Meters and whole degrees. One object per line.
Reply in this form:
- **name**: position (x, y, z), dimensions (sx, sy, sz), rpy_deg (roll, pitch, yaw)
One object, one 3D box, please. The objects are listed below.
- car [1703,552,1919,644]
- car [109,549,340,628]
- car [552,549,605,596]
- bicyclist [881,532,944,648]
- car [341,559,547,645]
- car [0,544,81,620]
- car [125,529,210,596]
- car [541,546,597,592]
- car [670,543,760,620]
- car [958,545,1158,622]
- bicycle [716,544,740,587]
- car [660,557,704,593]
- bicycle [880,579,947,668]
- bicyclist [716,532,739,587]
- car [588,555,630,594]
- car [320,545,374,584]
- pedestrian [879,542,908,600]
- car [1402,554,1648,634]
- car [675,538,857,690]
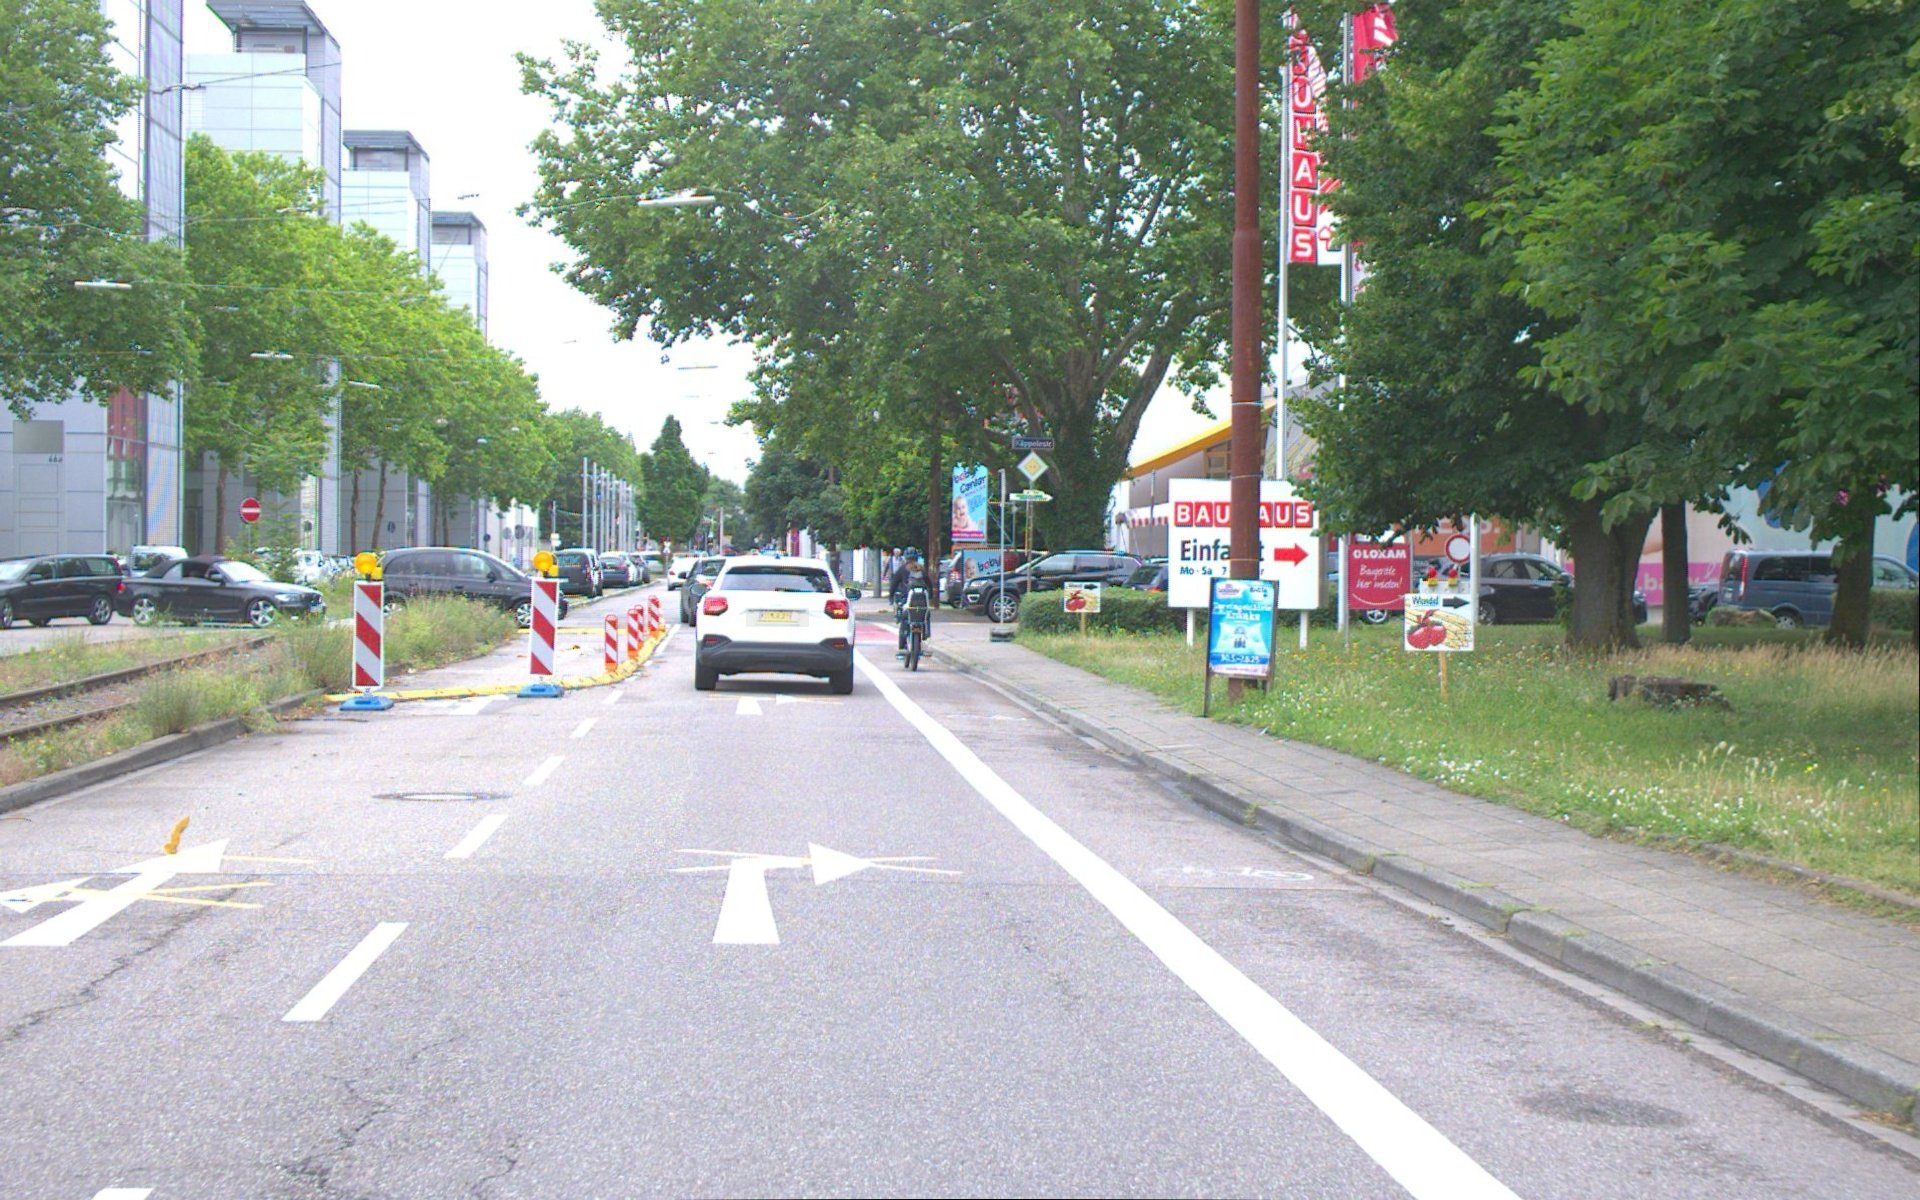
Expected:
- **car**: position (17.778, -0.055, 70.460), dimensions (4.552, 1.784, 2.074), rpy_deg (1, 1, -3)
- **car**: position (-14.525, -0.210, 67.903), dimensions (4.120, 1.470, 1.823), rpy_deg (-1, -1, 19)
- **car**: position (-14.313, -1.038, 129.218), dimensions (1.876, 1.757, 4.001), rpy_deg (0, 1, -5)
- **bicyclist**: position (-0.678, -0.148, 48.605), dimensions (0.816, 1.624, 1.235), rpy_deg (0, 0, -3)
- **car**: position (-10.289, 0.035, 68.746), dimensions (3.882, 1.550, 1.826), rpy_deg (2, 0, -4)
- **car**: position (-19.039, -0.368, 67.914), dimensions (1.820, 1.467, 4.425), rpy_deg (0, 1, 6)
- **car**: position (-21.629, -1.017, 93.950), dimensions (1.819, 1.777, 4.427), rpy_deg (0, 1, -7)
- **car**: position (-14.009, -1.125, 123.407), dimensions (1.876, 1.627, 4.001), rpy_deg (0, 1, -5)
- **car**: position (-5.156, -0.401, 72.021), dimensions (1.684, 1.508, 3.707), rpy_deg (2, 1, -6)
- **car**: position (2.160, -0.370, 76.592), dimensions (4.313, 1.671, 1.993), rpy_deg (0, 1, -3)
- **bicycle**: position (-7.771, -1.152, 115.024), dimensions (0.670, 1.389, 2.167), rpy_deg (2, 1, -6)
- **car**: position (-12.353, -1.127, 152.662), dimensions (1.795, 1.508, 3.707), rpy_deg (2, 1, -6)
- **bicycle**: position (-0.676, 0.319, 48.566), dimensions (0.816, 1.208, 2.683), rpy_deg (0, 1, -3)
- **bicyclist**: position (-7.779, -1.359, 115.159), dimensions (0.670, 1.809, 0.760), rpy_deg (2, 1, -6)
- **car**: position (-16.070, -1.166, 157.571), dimensions (1.876, 1.757, 4.001), rpy_deg (0, 1, -5)
- **car**: position (-26.114, -1.514, 146.635), dimensions (1.876, 1.627, 4.206), rpy_deg (0, 1, -5)
- **pedestrian**: position (-1.948, -0.856, 101.052), dimensions (0.760, 1.699, 0.682), rpy_deg (0, 1, -8)
- **car**: position (11.392, -0.122, 69.510), dimensions (4.552, 1.566, 1.993), rpy_deg (0, 1, -3)
- **car**: position (-2.264, 0.122, 39.341), dimensions (1.823, 1.595, 3.777), rpy_deg (2, 1, -6)
